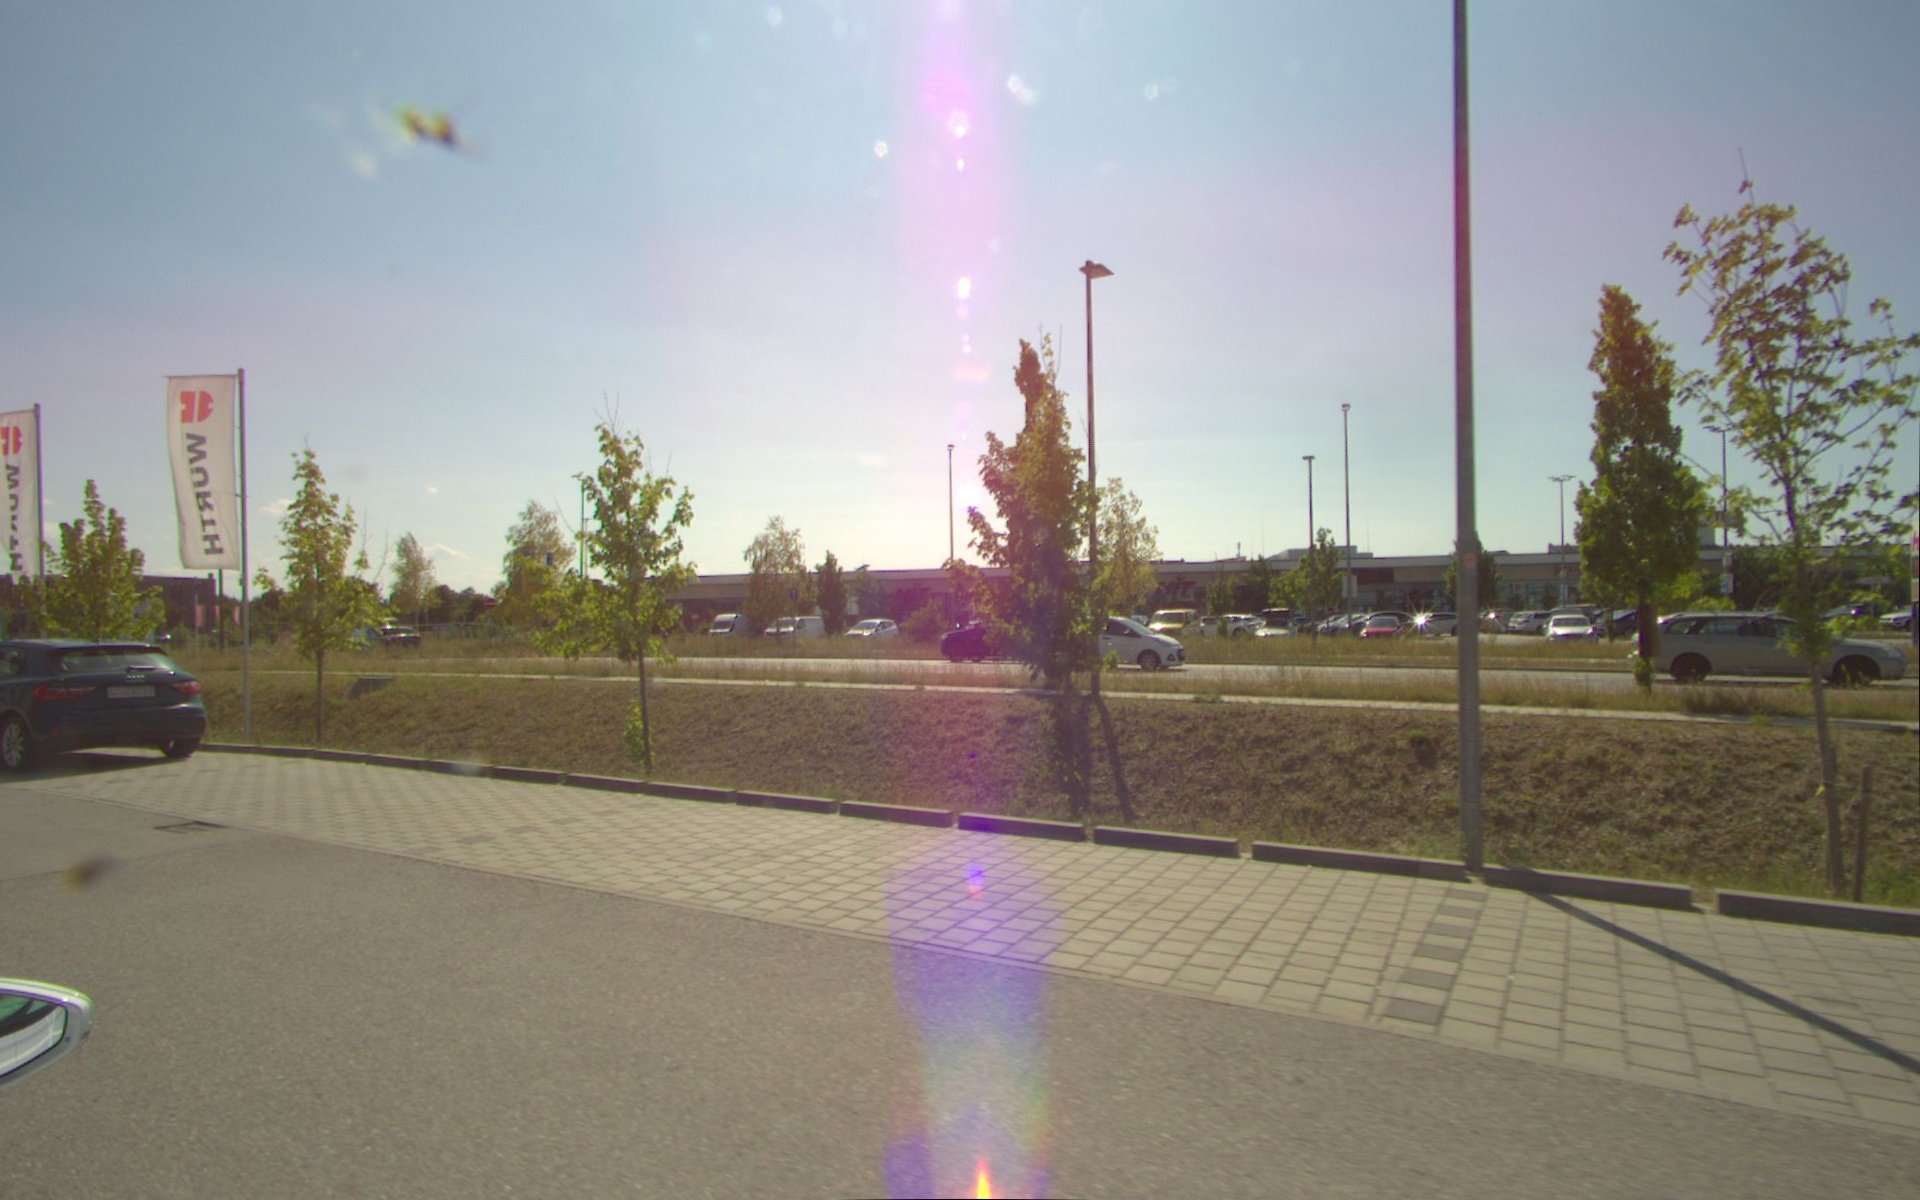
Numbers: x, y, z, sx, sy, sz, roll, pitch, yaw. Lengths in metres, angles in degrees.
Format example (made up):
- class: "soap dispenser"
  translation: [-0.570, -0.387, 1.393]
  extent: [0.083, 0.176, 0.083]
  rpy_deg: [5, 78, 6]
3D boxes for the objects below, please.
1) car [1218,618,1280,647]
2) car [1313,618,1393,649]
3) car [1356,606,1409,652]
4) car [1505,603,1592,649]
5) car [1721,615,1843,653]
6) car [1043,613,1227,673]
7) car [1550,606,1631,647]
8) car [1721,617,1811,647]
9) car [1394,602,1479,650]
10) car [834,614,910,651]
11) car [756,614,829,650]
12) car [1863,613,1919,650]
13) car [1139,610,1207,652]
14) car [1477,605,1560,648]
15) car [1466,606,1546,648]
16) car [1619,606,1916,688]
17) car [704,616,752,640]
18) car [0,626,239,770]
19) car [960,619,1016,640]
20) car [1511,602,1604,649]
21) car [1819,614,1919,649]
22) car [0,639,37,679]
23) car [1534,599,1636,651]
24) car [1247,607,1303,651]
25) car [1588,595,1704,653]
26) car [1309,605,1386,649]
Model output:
- class: "car"
  translation: [21.646, 2.456, 75.189]
  extent: [4.402, 2.150, 1.999]
  rpy_deg: [-1, -2, 15]
- class: "car"
  translation: [24.958, 2.132, 63.779]
  extent: [4.399, 1.887, 2.000]
  rpy_deg: [0, -2, 11]
- class: "car"
  translation: [19.641, 1.325, 46.473]
  extent: [1.854, 2.040, 4.121]
  rpy_deg: [-1, -1, 29]
- class: "car"
  translation: [37.698, 1.684, 64.241]
  extent: [4.399, 2.857, 2.000]
  rpy_deg: [0, -1, 11]
- class: "car"
  translation: [40.899, 1.701, 49.919]
  extent: [4.233, 1.807, 2.000]
  rpy_deg: [0, -2, 11]
- class: "car"
  translation: [4.838, 1.182, 27.853]
  extent: [4.689, 1.571, 1.939]
  rpy_deg: [-1, -2, 29]
- class: "car"
  translation: [44.917, 1.921, 71.443]
  extent: [4.399, 2.857, 2.000]
  rpy_deg: [0, -1, 11]
- class: "car"
  translation: [55.827, 2.225, 69.460]
  extent: [4.399, 2.064, 2.000]
  rpy_deg: [0, -1, 11]
- class: "car"
  translation: [28.858, 1.580, 60.714]
  extent: [4.403, 2.857, 1.998]
  rpy_deg: [0, -1, -14]
- class: "car"
  translation: [-5.021, 1.835, 57.778]
  extent: [2.129, 2.039, 5.101]
  rpy_deg: [-1, -1, 24]
- class: "car"
  translation: [-9.877, 1.901, 59.483]
  extent: [2.050, 2.039, 5.221]
  rpy_deg: [-1, -1, 18]
- class: "car"
  translation: [55.751, 1.832, 58.220]
  extent: [4.399, 2.064, 2.000]
  rpy_deg: [0, -1, 11]
- class: "car"
  translation: [10.924, 1.563, 50.990]
  extent: [2.131, 2.039, 5.097]
  rpy_deg: [-1, -1, 27]
- class: "car"
  translation: [37.322, 1.782, 67.015]
  extent: [4.399, 2.857, 2.000]
  rpy_deg: [0, -1, 11]
- class: "car"
  translation: [37.660, 1.858, 69.209]
  extent: [4.399, 2.857, 2.000]
  rpy_deg: [0, -1, 11]
- class: "car"
  translation: [16.881, 0.976, 21.316]
  extent: [4.693, 1.571, 1.937]
  rpy_deg: [-1, -2, 33]
- class: "car"
  translation: [-20.998, 2.530, 90.990]
  extent: [2.186, 2.002, 6.697]
  rpy_deg: [-1, -2, 6]
- class: "car"
  translation: [-10.874, 1.053, 11.965]
  extent: [4.157, 1.468, 1.841]
  rpy_deg: [-1, -1, 24]
- class: "car"
  translation: [1.961, 2.074, 69.587]
  extent: [3.660, 1.408, 1.732]
  rpy_deg: [-1, -1, 7]
- class: "car"
  translation: [36.611, 1.589, 61.462]
  extent: [4.399, 2.857, 2.000]
  rpy_deg: [0, -1, 11]
- class: "car"
  translation: [55.818, 1.940, 61.334]
  extent: [4.399, 2.064, 2.000]
  rpy_deg: [0, -1, 11]
- class: "car"
  translation: [-40.277, 2.375, 40.377]
  extent: [4.669, 1.571, 1.947]
  rpy_deg: [0, -2, 7]
- class: "car"
  translation: [35.176, 1.417, 56.461]
  extent: [4.397, 2.857, 2.001]
  rpy_deg: [0, -1, 5]
- class: "car"
  translation: [15.423, 1.411, 48.833]
  extent: [1.913, 2.040, 4.394]
  rpy_deg: [-1, -1, 27]
- class: "car"
  translation: [34.846, 1.225, 50.949]
  extent: [4.397, 2.857, 2.001]
  rpy_deg: [0, -1, 5]
- class: "car"
  translation: [25.683, 1.789, 66.516]
  extent: [4.397, 2.857, 2.001]
  rpy_deg: [0, -1, 5]
